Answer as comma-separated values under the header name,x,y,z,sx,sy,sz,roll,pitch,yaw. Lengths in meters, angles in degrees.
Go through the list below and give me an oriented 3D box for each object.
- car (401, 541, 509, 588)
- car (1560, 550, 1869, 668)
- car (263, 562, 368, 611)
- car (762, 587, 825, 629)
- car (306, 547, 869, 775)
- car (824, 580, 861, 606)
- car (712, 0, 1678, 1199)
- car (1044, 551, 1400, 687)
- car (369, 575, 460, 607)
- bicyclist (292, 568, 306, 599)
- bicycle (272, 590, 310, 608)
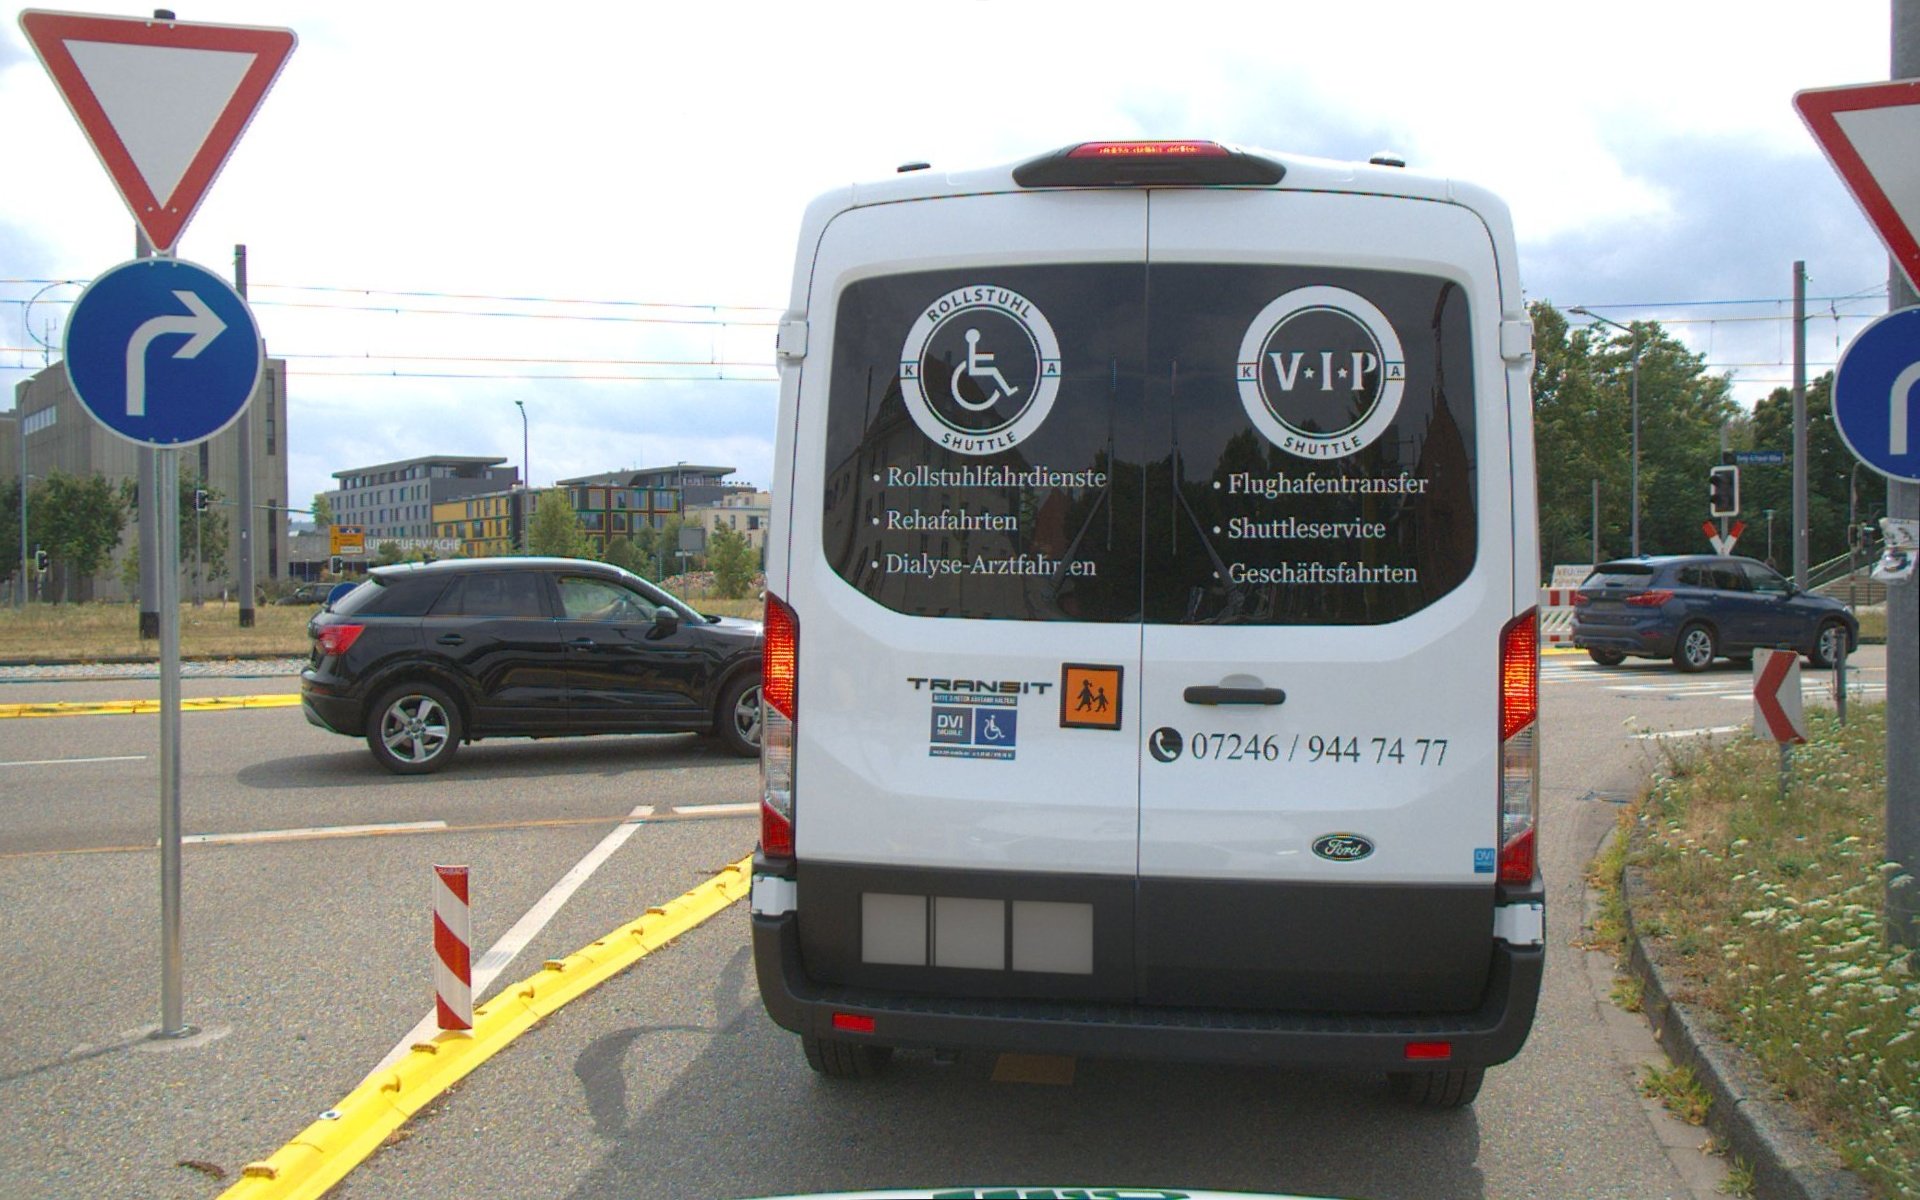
name,x,y,z,sx,sy,sz,roll,pitch,yaw
car,-22.969,-1.604,75.313,4.255,2.049,2.001,0,-1,6
car,10.819,0.077,23.693,4.304,1.560,1.718,-1,1,-26
car,-27.395,-0.562,70.316,3.906,2.049,1.999,0,-1,23
car,-8.354,0.421,83.265,1.951,2.049,4.003,0,-1,13
car,-2.911,0.383,12.926,4.076,1.545,1.729,-1,1,-23
car,-6.895,-0.418,97.615,1.789,1.489,4.001,0,0,1
car,0.737,-0.009,6.431,2.081,2.744,5.635,0,1,5
car,3.211,0.164,19.976,4.211,1.488,1.808,-1,1,-35
car,-26.436,-0.420,80.227,3.904,1.489,1.833,0,-1,21
bicyclist,-34.015,-0.829,85.159,0.639,1.585,0.527,-1,1,-21
bicycle,-34.387,-0.060,85.016,1.803,0.892,0.527,-1,1,-22
